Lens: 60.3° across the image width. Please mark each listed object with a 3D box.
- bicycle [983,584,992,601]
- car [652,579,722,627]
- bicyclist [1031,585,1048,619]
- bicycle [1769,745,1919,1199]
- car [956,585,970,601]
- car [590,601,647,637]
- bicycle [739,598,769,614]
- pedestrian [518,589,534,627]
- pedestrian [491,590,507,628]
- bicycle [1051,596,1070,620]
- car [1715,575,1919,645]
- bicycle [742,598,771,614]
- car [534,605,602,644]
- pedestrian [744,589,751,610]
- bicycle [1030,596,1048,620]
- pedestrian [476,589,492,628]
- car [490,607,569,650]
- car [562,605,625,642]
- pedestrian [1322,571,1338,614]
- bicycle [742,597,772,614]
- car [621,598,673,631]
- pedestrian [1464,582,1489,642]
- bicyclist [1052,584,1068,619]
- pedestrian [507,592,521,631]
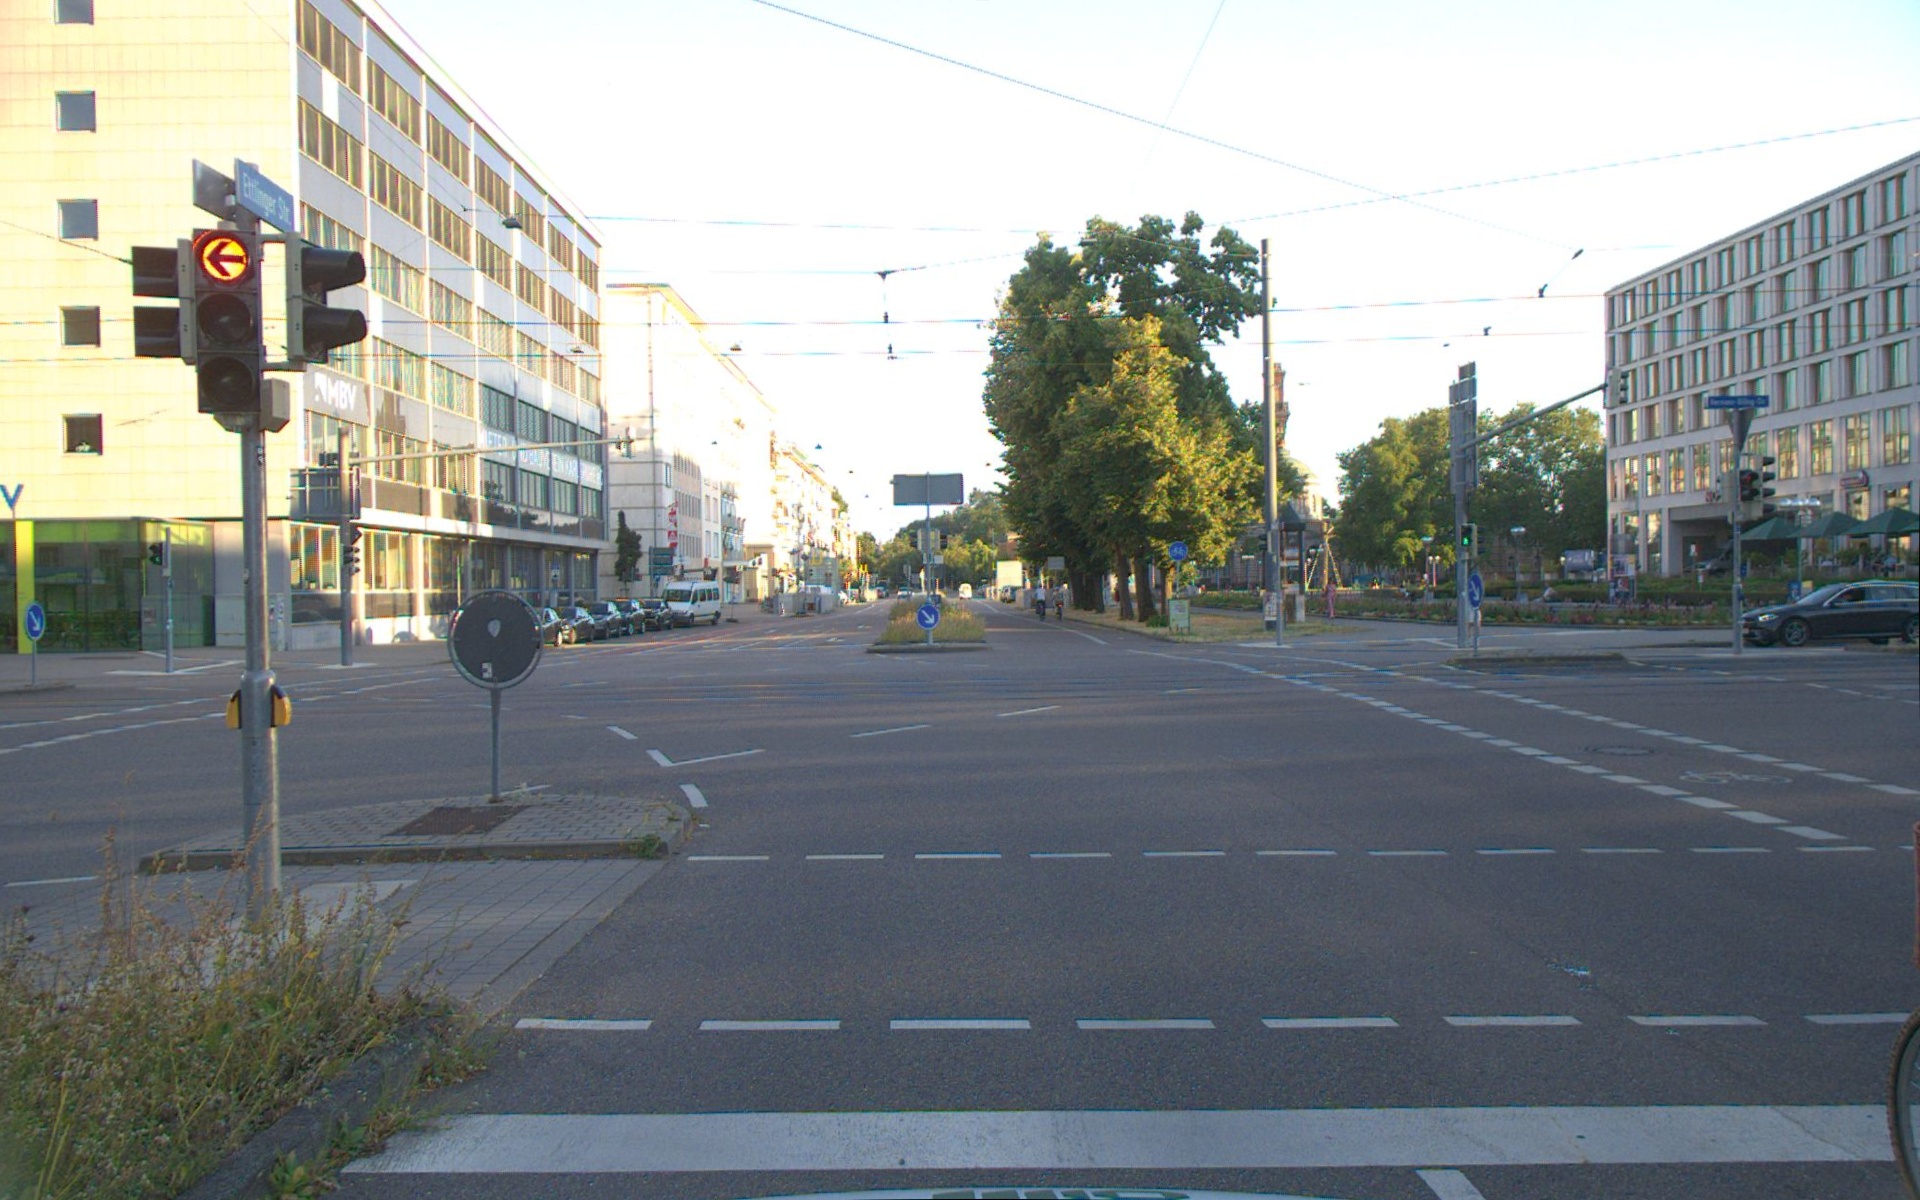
[{"bbox_3d":[3.468,-0.925,208.932,0.981,2.049,4.002,-1,0,3],"label":"bicycle"},{"bbox_3d":[-14.944,0.147,90.986,1.958,2.521,5.873,-1,0,9],"label":"car"},{"bbox_3d":[3.952,0.102,82.424,0.731,1.692,0.873,-1,0,-1],"label":"bicyclist"},{"bbox_3d":[2.179,0.916,2.814,0.599,1.152,2.004,1,0,-1],"label":"bicycle"},{"bbox_3d":[0.356,-0.726,180.356,1.379,1.670,3.998,-1,0,-2],"label":"car"},{"bbox_3d":[-16.136,0.884,78.279,1.882,1.595,3.999,-1,0,-1],"label":"car"},{"bbox_3d":[-15.589,0.471,125.196,2.161,1.131,0.618,-1,0,-3],"label":"bicycle"},{"bbox_3d":[-19.435,0.359,74.078,0.540,1.708,0.500,-1,0,-1],"label":"pedestrian"},{"bbox_3d":[-20.757,0.402,74.538,0.540,1.708,0.500,-1,0,-1],"label":"pedestrian"},{"bbox_3d":[4.995,0.383,82.521,0.731,1.164,2.505,-1,0,-1],"label":"bicycle"},{"bbox_3d":[21.054,0.223,39.920,4.724,1.542,2.000,-1,0,1],"label":"car"},{"bbox_3d":[-15.579,0.463,126.712,2.161,1.131,0.689,-1,0,-2],"label":"bicycle"},{"bbox_3d":[-16.119,0.994,68.162,1.882,1.489,3.999,-1,0,-1],"label":"car"},{"bbox_3d":[-21.147,-0.063,164.581,0.666,2.049,0.545,-1,0,-1],"label":"pedestrian"},{"bbox_3d":[3.954,0.386,82.659,0.731,1.164,2.505,-1,0,-1],"label":"bicycle"},{"bbox_3d":[-21.267,0.390,73.941,0.540,1.708,0.500,-1,0,-1],"label":"pedestrian"},{"bbox_3d":[-16.011,1.034,61.667,1.882,1.489,4.102,-1,0,-1],"label":"car"},{"bbox_3d":[-16.140,1.014,72.976,1.882,1.489,3.999,-1,0,-1],"label":"car"},{"bbox_3d":[14.609,-0.303,65.355,0.451,1.685,0.566,-1,0,-1],"label":"pedestrian"},{"bbox_3d":[-15.780,0.422,128.620,2.161,1.258,0.839,-1,0,-2],"label":"bicycle"},{"bbox_3d":[-15.962,0.735,84.511,1.882,1.595,3.999,-1,0,-1],"label":"car"},{"bbox_3d":[13.644,0.308,43.702,0.480,1.566,0.408,-1,0,-1],"label":"pedestrian"},{"bbox_3d":[4.985,0.077,82.523,0.731,1.720,0.799,-1,0,-1],"label":"bicyclist"},{"bbox_3d":[-20.121,0.515,74.611,0.490,1.708,0.500,-1,0,-1],"label":"pedestrian"}]
